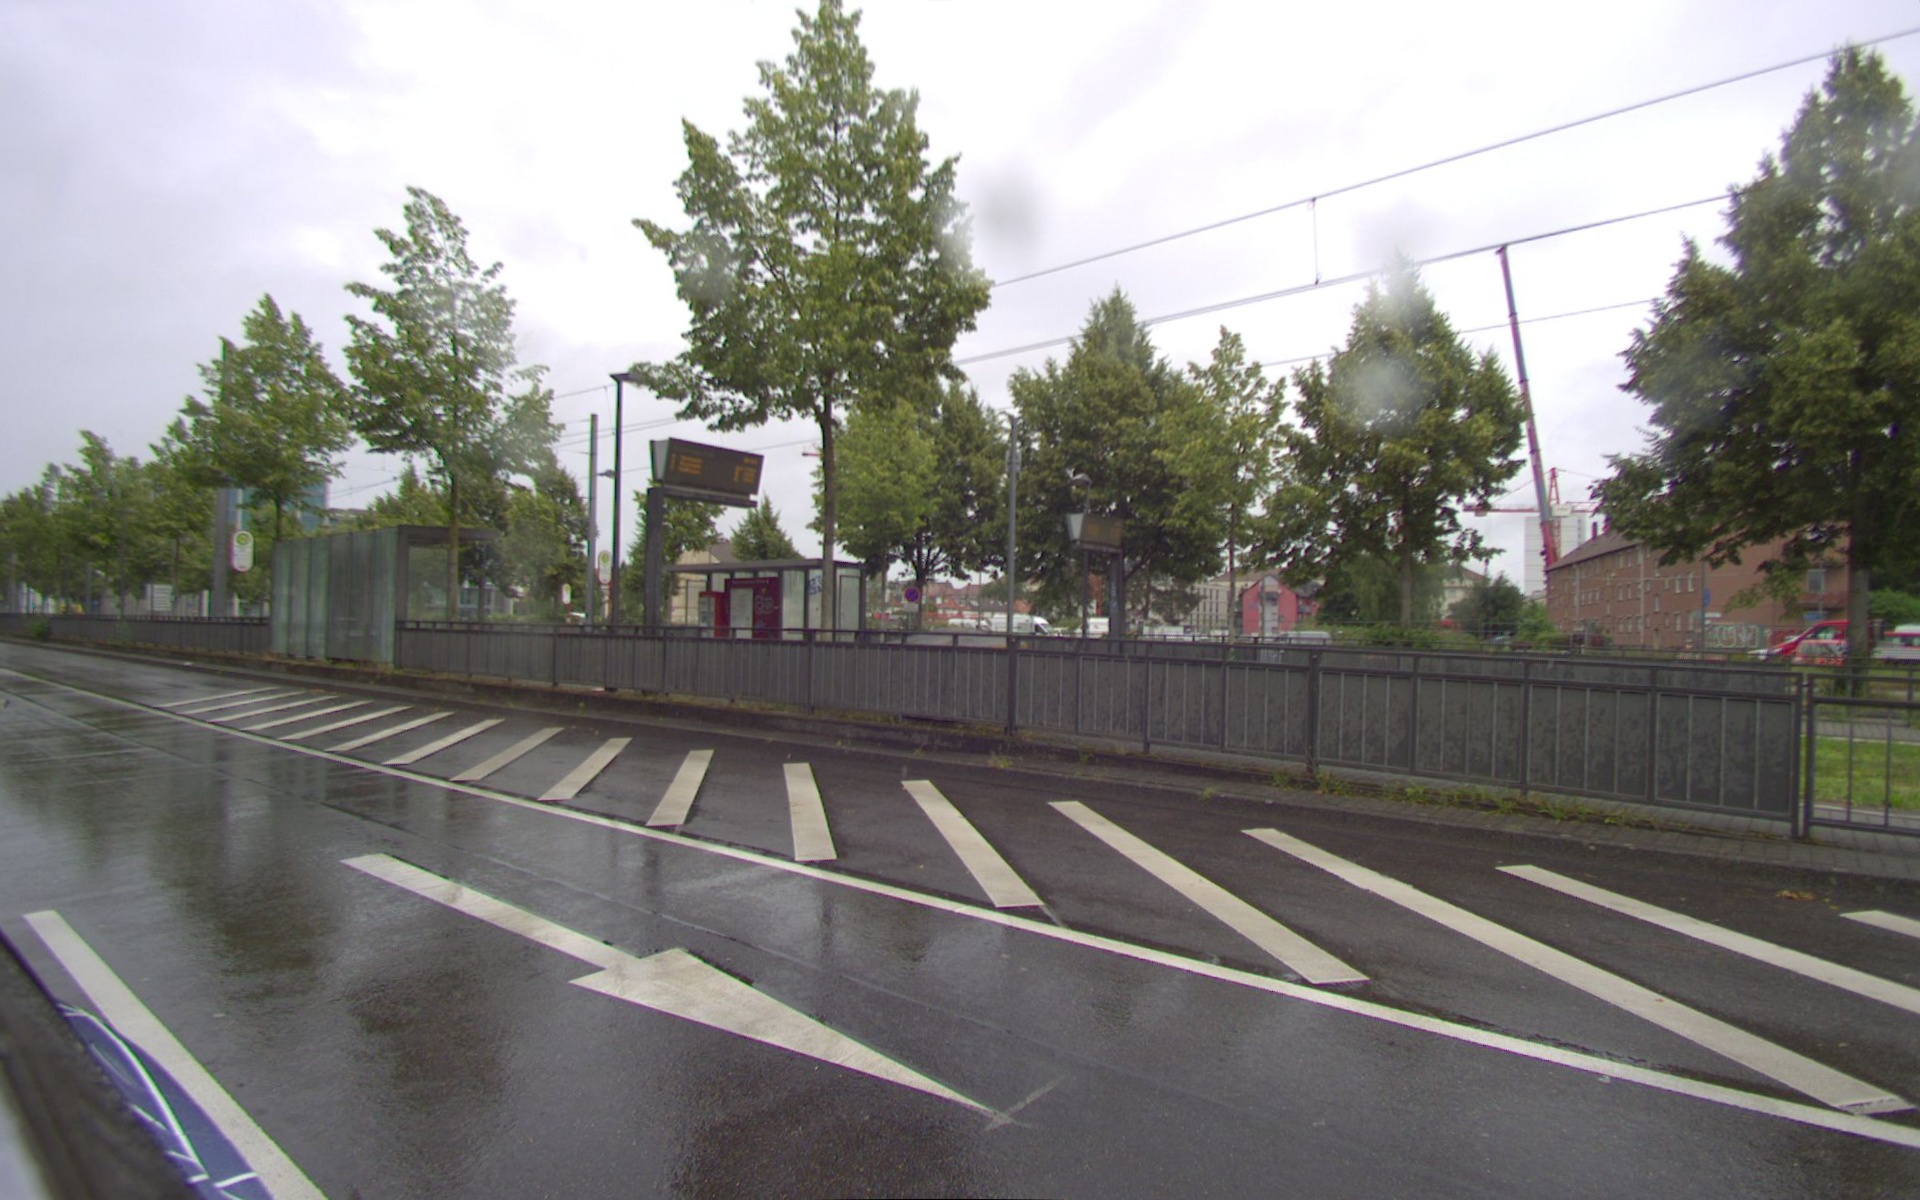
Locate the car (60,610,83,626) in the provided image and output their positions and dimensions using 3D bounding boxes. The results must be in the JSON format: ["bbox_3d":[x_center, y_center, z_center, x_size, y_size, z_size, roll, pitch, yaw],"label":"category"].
[{"bbox_3d":[-121.064,2.459,137.917,3.999,2.029,1.972,-1,0,42],"label":"car"}]

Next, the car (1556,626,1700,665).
[{"bbox_3d":[37.171,2.481,56.590,6.393,2.029,2.336,-1,0,26],"label":"car"}]

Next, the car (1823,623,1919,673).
[{"bbox_3d":[40.057,1.979,41.736,2.319,2.029,6.440,2,-3,-38],"label":"car"}]

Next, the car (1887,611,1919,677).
[{"bbox_3d":[45.986,1.985,45.217,2.319,2.961,6.441,-1,0,-38],"label":"car"}]

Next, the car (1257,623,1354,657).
[{"bbox_3d":[26.617,3.044,78.019,6.804,2.495,2.335,0,-2,28],"label":"car"}]

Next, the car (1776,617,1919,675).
[{"bbox_3d":[34.706,1.669,37.618,2.319,2.029,6.441,-1,0,-38],"label":"car"}]

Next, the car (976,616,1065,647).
[{"bbox_3d":[5.098,2.664,86.111,7.627,2.495,2.327,-1,0,38],"label":"car"}]

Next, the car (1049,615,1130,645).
[{"bbox_3d":[11.399,2.580,89.413,6.823,2.495,2.471,-1,0,36],"label":"car"}]
